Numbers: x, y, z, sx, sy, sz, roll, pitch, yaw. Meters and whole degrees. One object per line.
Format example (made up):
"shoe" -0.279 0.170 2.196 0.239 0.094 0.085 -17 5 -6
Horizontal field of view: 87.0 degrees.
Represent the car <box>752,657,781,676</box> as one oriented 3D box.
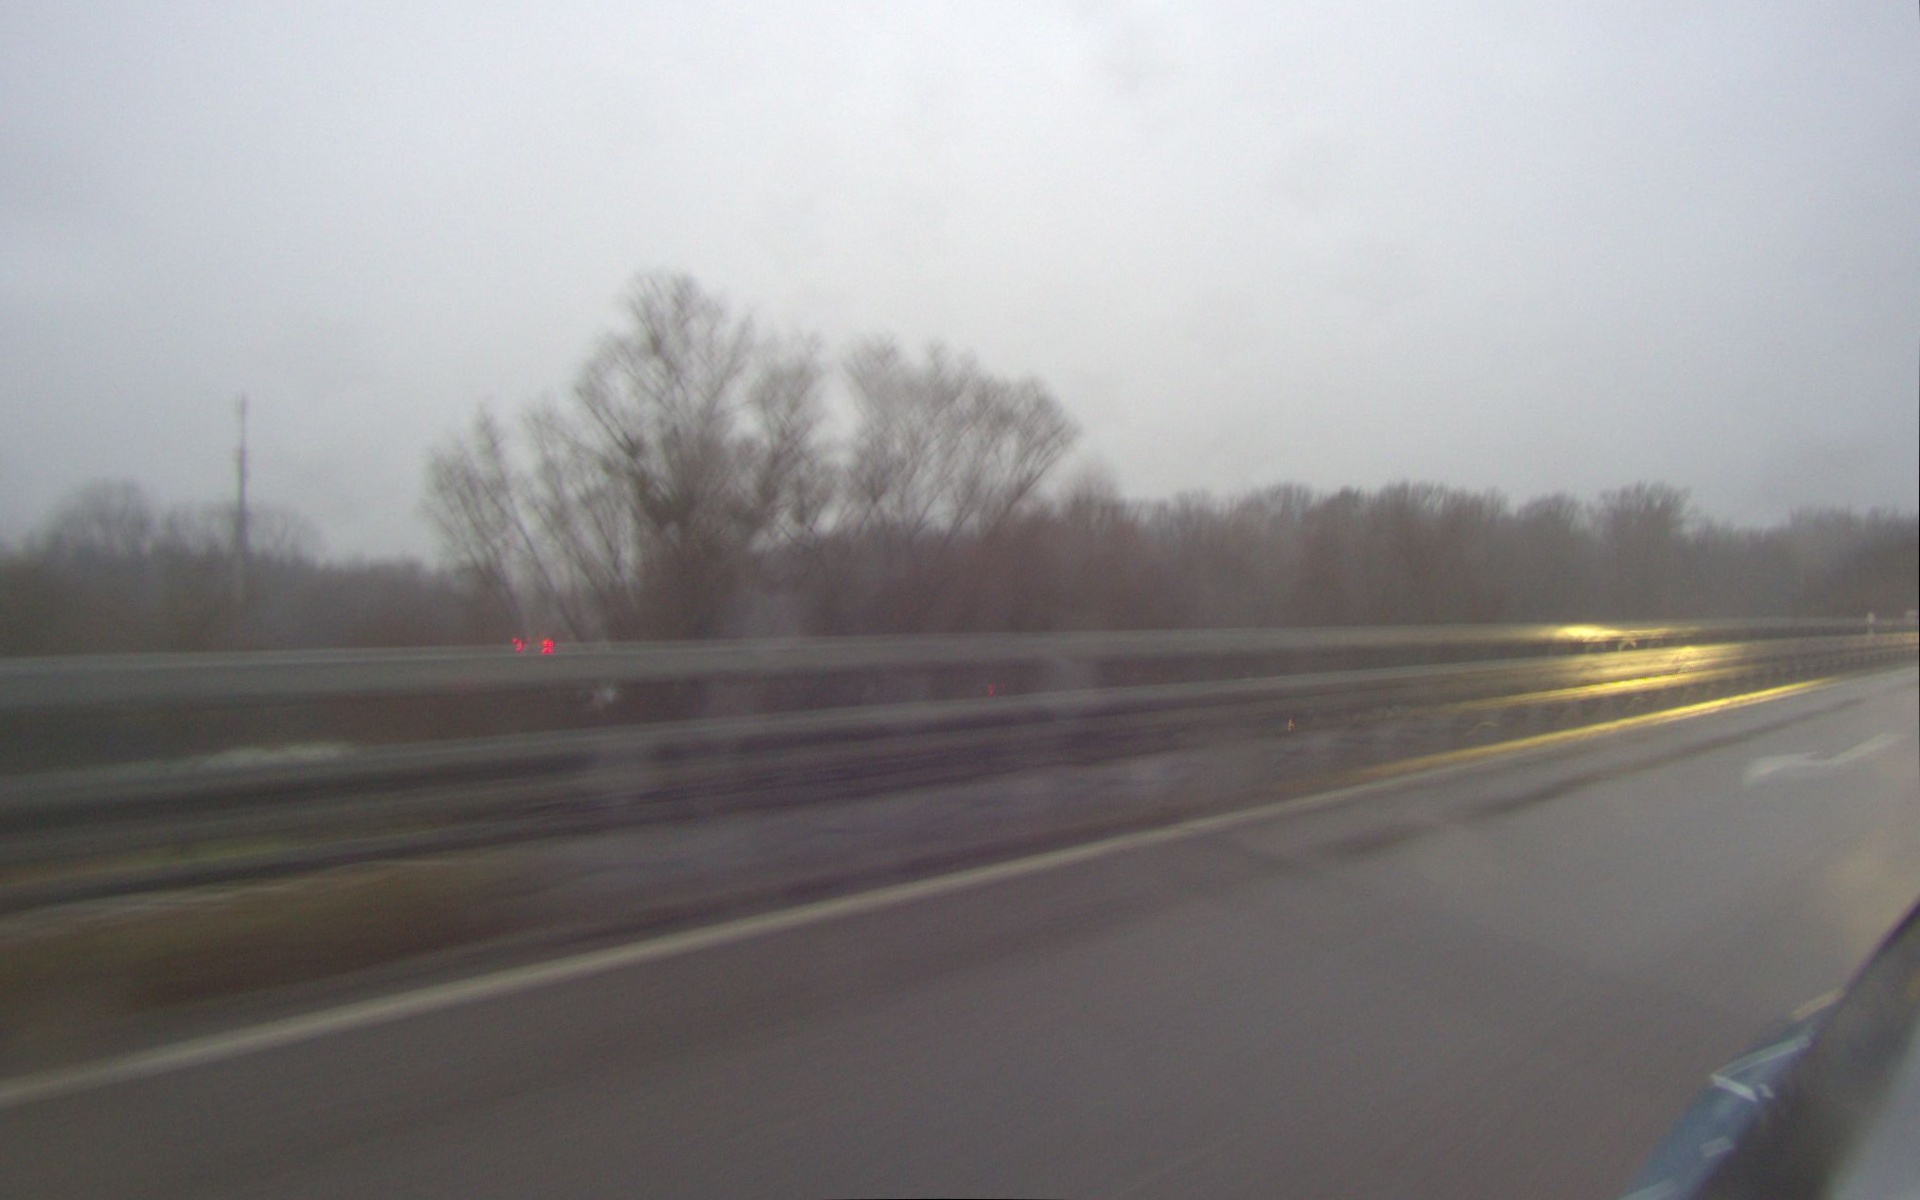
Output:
"car" -24.472 8.370 127.811 1.959 2.040 5.719 1 -2 -27
